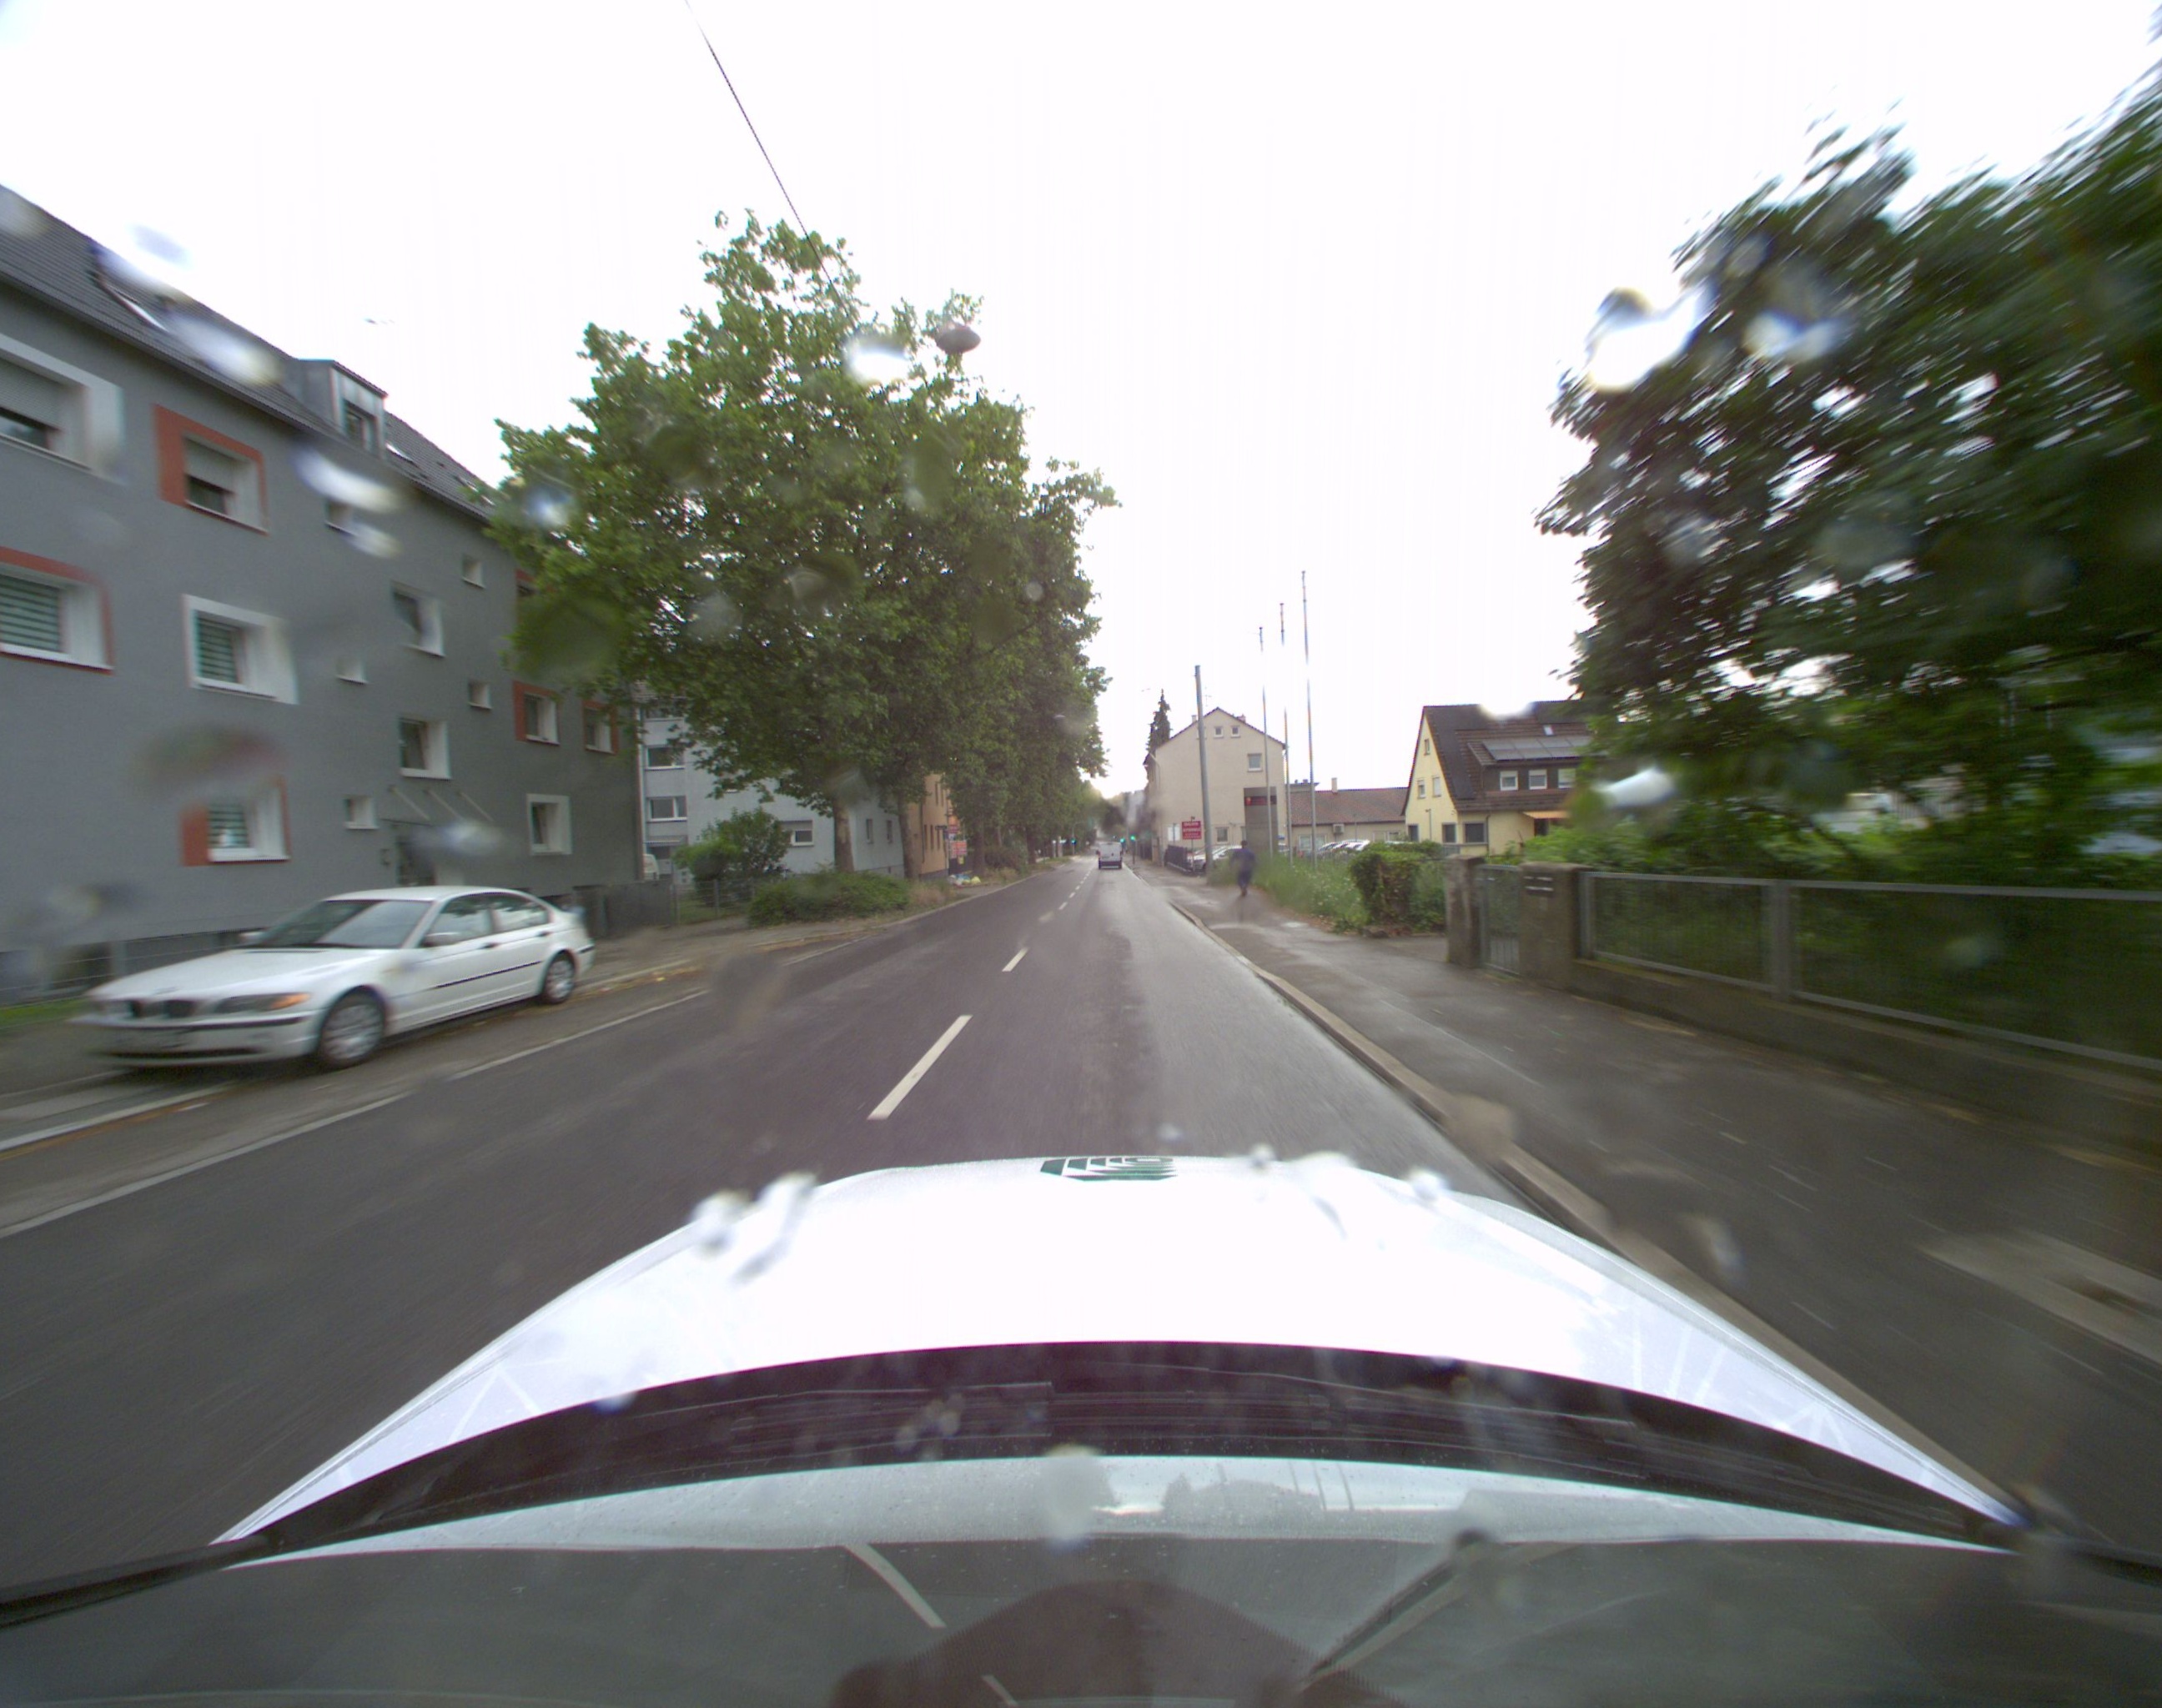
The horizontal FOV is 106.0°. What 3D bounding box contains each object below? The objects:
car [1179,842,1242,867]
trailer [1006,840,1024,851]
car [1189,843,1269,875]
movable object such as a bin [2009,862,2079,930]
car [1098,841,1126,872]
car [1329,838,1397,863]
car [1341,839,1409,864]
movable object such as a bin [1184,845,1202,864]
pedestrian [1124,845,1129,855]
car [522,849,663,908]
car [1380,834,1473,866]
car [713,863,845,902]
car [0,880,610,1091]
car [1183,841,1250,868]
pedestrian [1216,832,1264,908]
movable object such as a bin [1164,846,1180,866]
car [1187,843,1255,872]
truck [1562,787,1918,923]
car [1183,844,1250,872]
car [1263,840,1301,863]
[{"bbox_3d":[9.193,0.055,58.062,4.213,1.736,1.870,-1,-1,1],"label":"car"},{"bbox_3d":[-10.280,-1.379,127.160,2.694,1.645,1.481,-1,0,2],"label":"trailer"},{"bbox_3d":[8.525,0.277,47.117,4.287,1.768,2.000,-1,-1,1],"label":"car"},{"bbox_3d":[15.639,0.673,13.241,0.393,1.075,0.613,0,-1,0],"label":"movable object such as a bin"},{"bbox_3d":[2.654,0.259,70.531,2.274,2.553,4.002,-2,-1,2],"label":"car"},{"bbox_3d":[19.162,-0.230,55.436,4.071,1.600,1.794,-1,-1,0],"label":"car"},{"bbox_3d":[19.040,-0.177,52.789,3.754,1.532,1.757,0,0,-2],"label":"car"},{"bbox_3d":[9.071,0.052,65.985,1.229,1.509,1.111,-4,-1,1],"label":"movable object such as a bin"},{"bbox_3d":[7.946,-0.728,141.015,0.741,1.704,0.900,0,-1,-4],"label":"pedestrian"},{"bbox_3d":[-17.094,0.817,28.821,1.875,1.920,4.561,-1,-1,7],"label":"car"},{"bbox_3d":[19.776,-0.216,46.742,4.487,1.626,1.870,-3,0,1],"label":"car"},{"bbox_3d":[-12.227,1.131,33.139,4.645,1.477,1.870,-1,-1,1],"label":"car"},{"bbox_3d":[-6.844,1.002,8.083,1.750,1.326,4.536,-1,0,-1],"label":"car"},{"bbox_3d":[9.133,0.038,55.159,4.213,1.736,1.870,-1,-1,1],"label":"car"},{"bbox_3d":[4.121,0.421,21.171,1.039,1.897,0.901,-2,-1,2],"label":"pedestrian"},{"bbox_3d":[7.356,0.172,66.091,1.106,1.509,0.987,-4,-1,1],"label":"movable object such as a bin"},{"bbox_3d":[8.539,0.231,49.943,3.934,1.724,1.792,-1,0,1],"label":"car"},{"bbox_3d":[13.659,0.030,17.166,5.823,2.637,2.044,0,-1,1],"label":"truck"},{"bbox_3d":[8.741,0.261,52.608,4.052,1.736,1.870,-1,-1,1],"label":"car"},{"bbox_3d":[13.980,-0.153,56.843,1.801,1.530,3.628,-1,-1,1],"label":"car"}]
